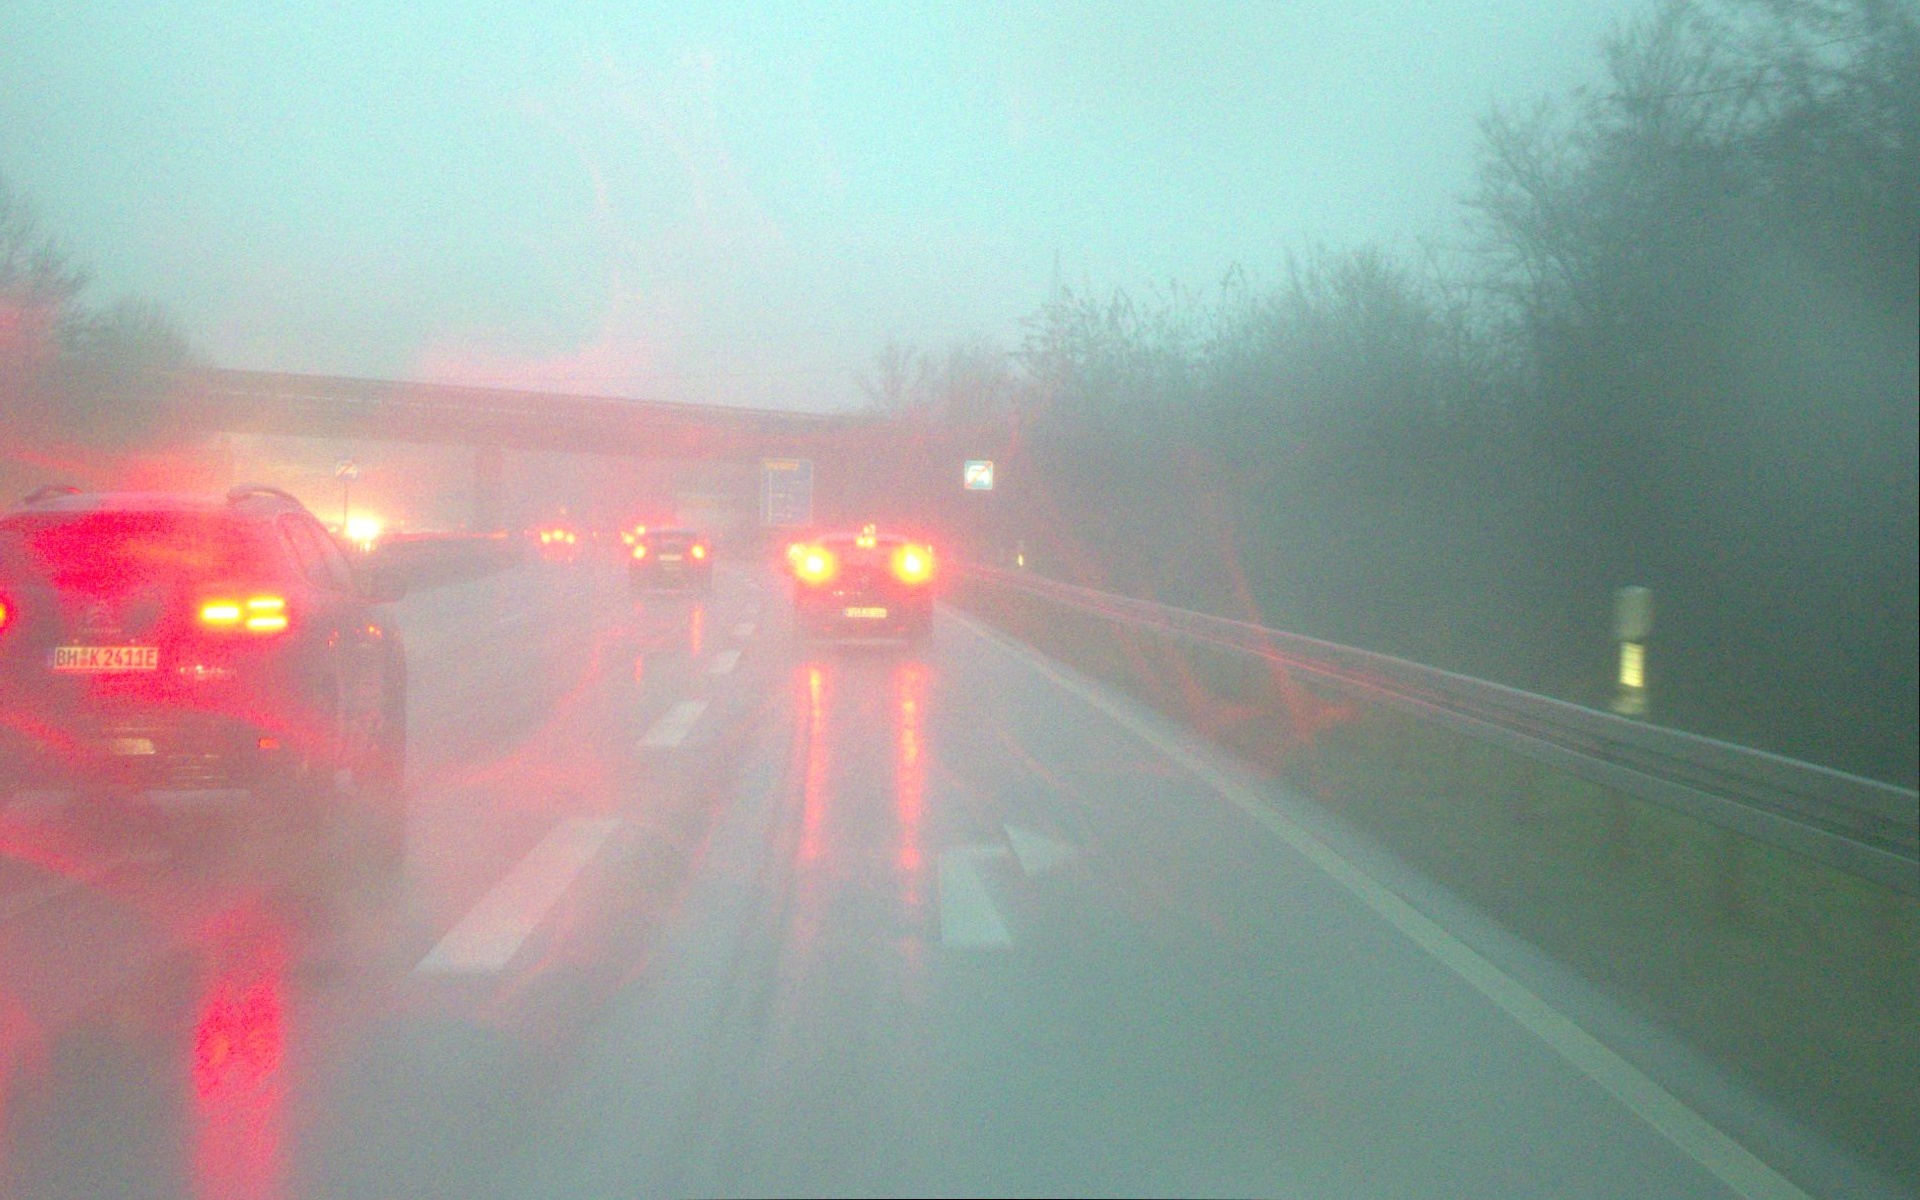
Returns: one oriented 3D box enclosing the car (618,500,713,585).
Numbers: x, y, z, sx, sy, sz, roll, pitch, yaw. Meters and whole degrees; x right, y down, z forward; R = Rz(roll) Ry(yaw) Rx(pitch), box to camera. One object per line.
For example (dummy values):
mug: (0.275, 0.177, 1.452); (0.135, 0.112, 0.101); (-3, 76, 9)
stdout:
car: (-6.244, -1.240, 73.192); (1.878, 1.611, 3.875); (2, 3, -4)

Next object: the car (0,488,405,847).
car: (-4.037, 0.267, 17.932); (1.993, 1.659, 4.001); (0, 1, -5)

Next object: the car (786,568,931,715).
car: (-1.238, 0.482, 43.321); (1.732, 1.424, 3.767); (1, 6, 0)
